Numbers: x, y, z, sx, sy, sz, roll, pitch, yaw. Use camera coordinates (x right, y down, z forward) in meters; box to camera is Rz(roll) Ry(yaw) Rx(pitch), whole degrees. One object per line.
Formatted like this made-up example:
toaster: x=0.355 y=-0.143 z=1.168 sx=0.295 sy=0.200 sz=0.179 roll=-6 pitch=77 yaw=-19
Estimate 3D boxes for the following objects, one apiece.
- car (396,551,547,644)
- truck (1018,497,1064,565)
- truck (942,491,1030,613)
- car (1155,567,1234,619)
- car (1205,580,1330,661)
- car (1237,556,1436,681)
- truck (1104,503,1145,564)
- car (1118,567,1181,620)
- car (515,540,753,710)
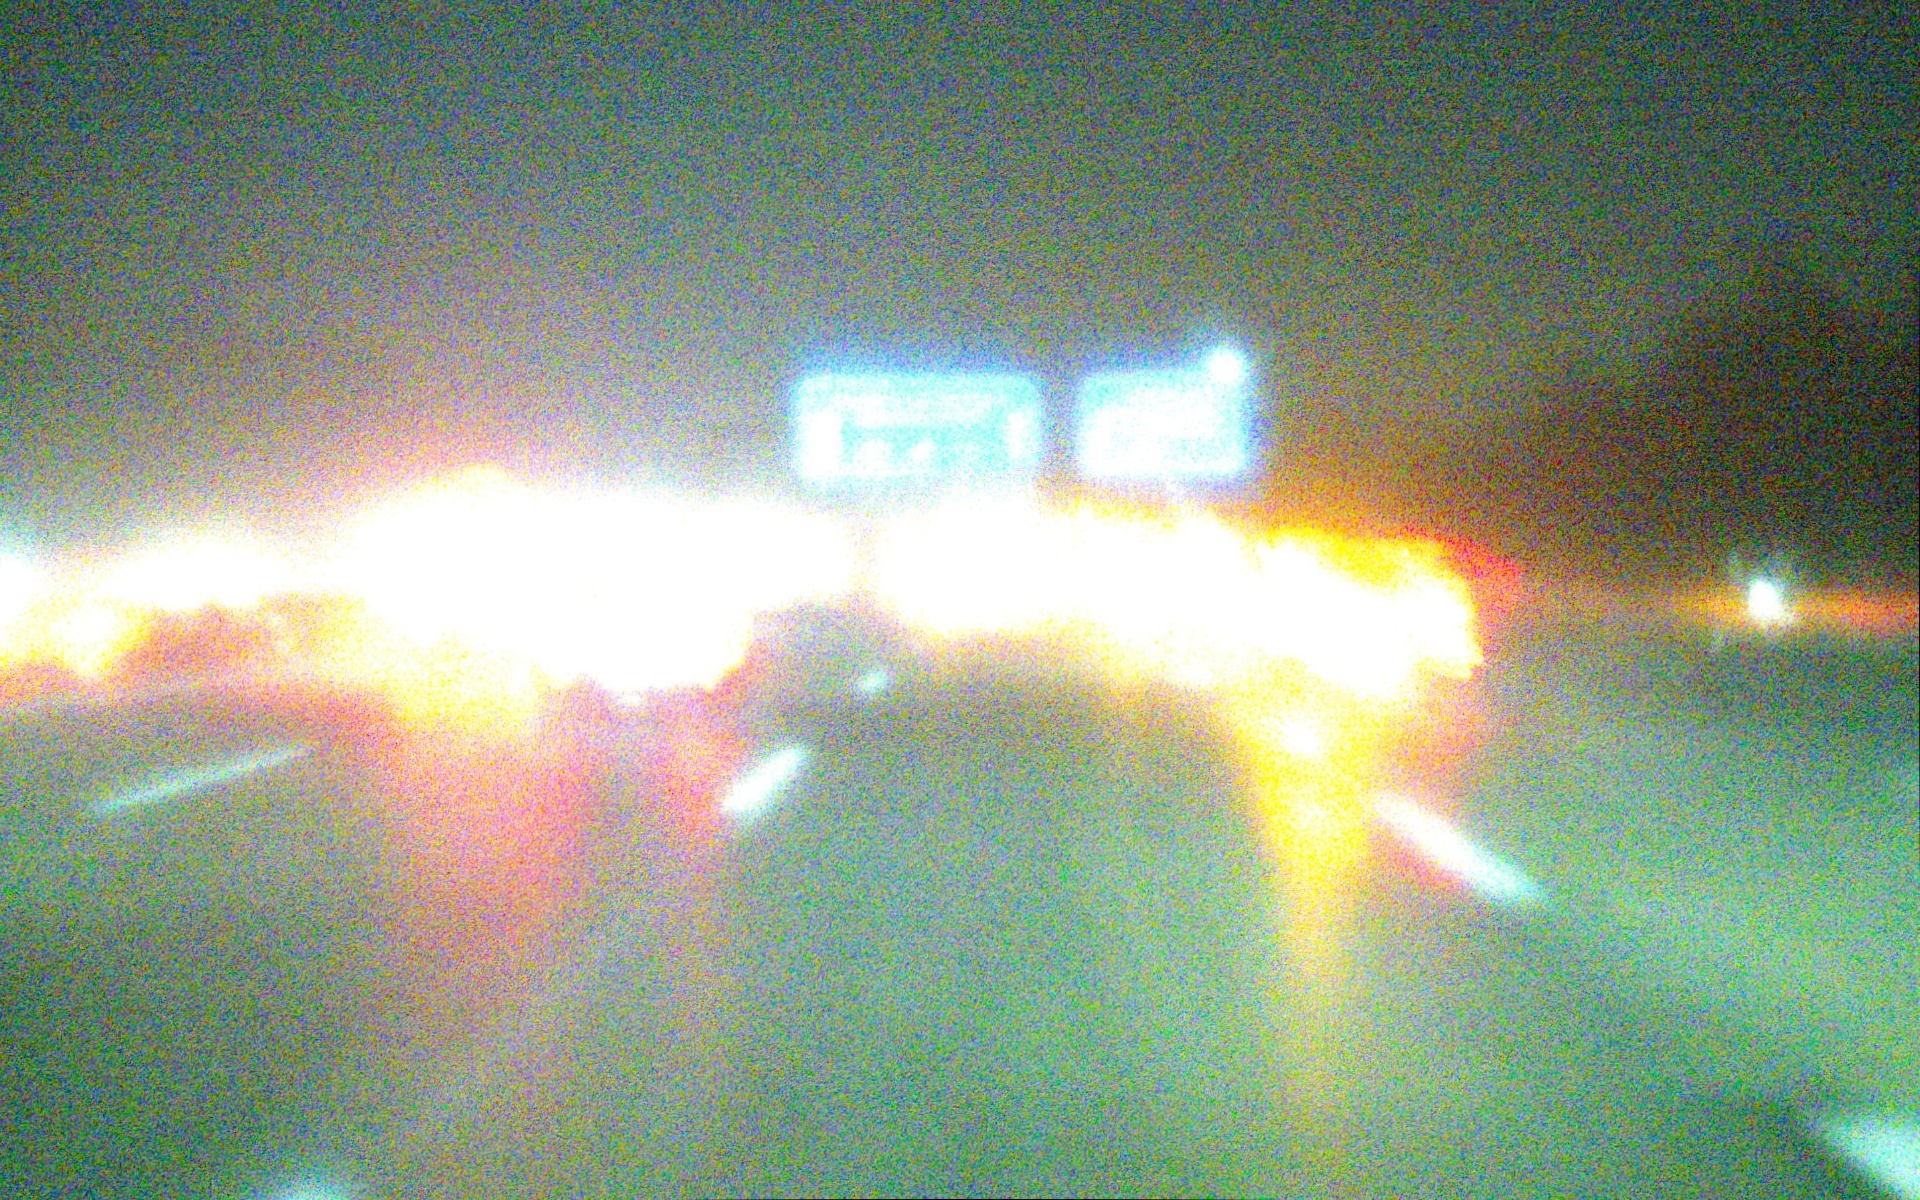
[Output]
car: x=-7.074 y=-0.026 z=50.095 sx=1.662 sy=1.232 sz=3.761 roll=-3 pitch=0 yaw=-1
truck: x=3.898 y=-3.284 z=164.843 sx=1.994 sy=3.032 sz=6.464 roll=-3 pitch=0 yaw=2
truck: x=0.738 y=-1.215 z=91.314 sx=1.994 sy=3.032 sz=6.464 roll=-3 pitch=0 yaw=2
car: x=5.762 y=-0.175 z=84.723 sx=1.580 sy=1.242 sz=3.069 roll=1 pitch=0 yaw=-3
car: x=4.948 y=0.315 z=55.577 sx=1.580 sy=1.242 sz=3.069 roll=1 pitch=0 yaw=-3
car: x=3.902 y=0.179 z=36.036 sx=1.580 sy=1.242 sz=3.069 roll=1 pitch=0 yaw=-3
truck: x=8.831 y=-3.558 z=185.108 sx=1.994 sy=3.032 sz=6.464 roll=-3 pitch=0 yaw=2
car: x=5.887 y=-0.205 z=107.002 sx=1.863 sy=1.612 sz=4.000 roll=1 pitch=0 yaw=2
car: x=-2.989 y=0.184 z=32.254 sx=1.802 sy=1.482 sz=4.000 roll=0 pitch=1 yaw=1
